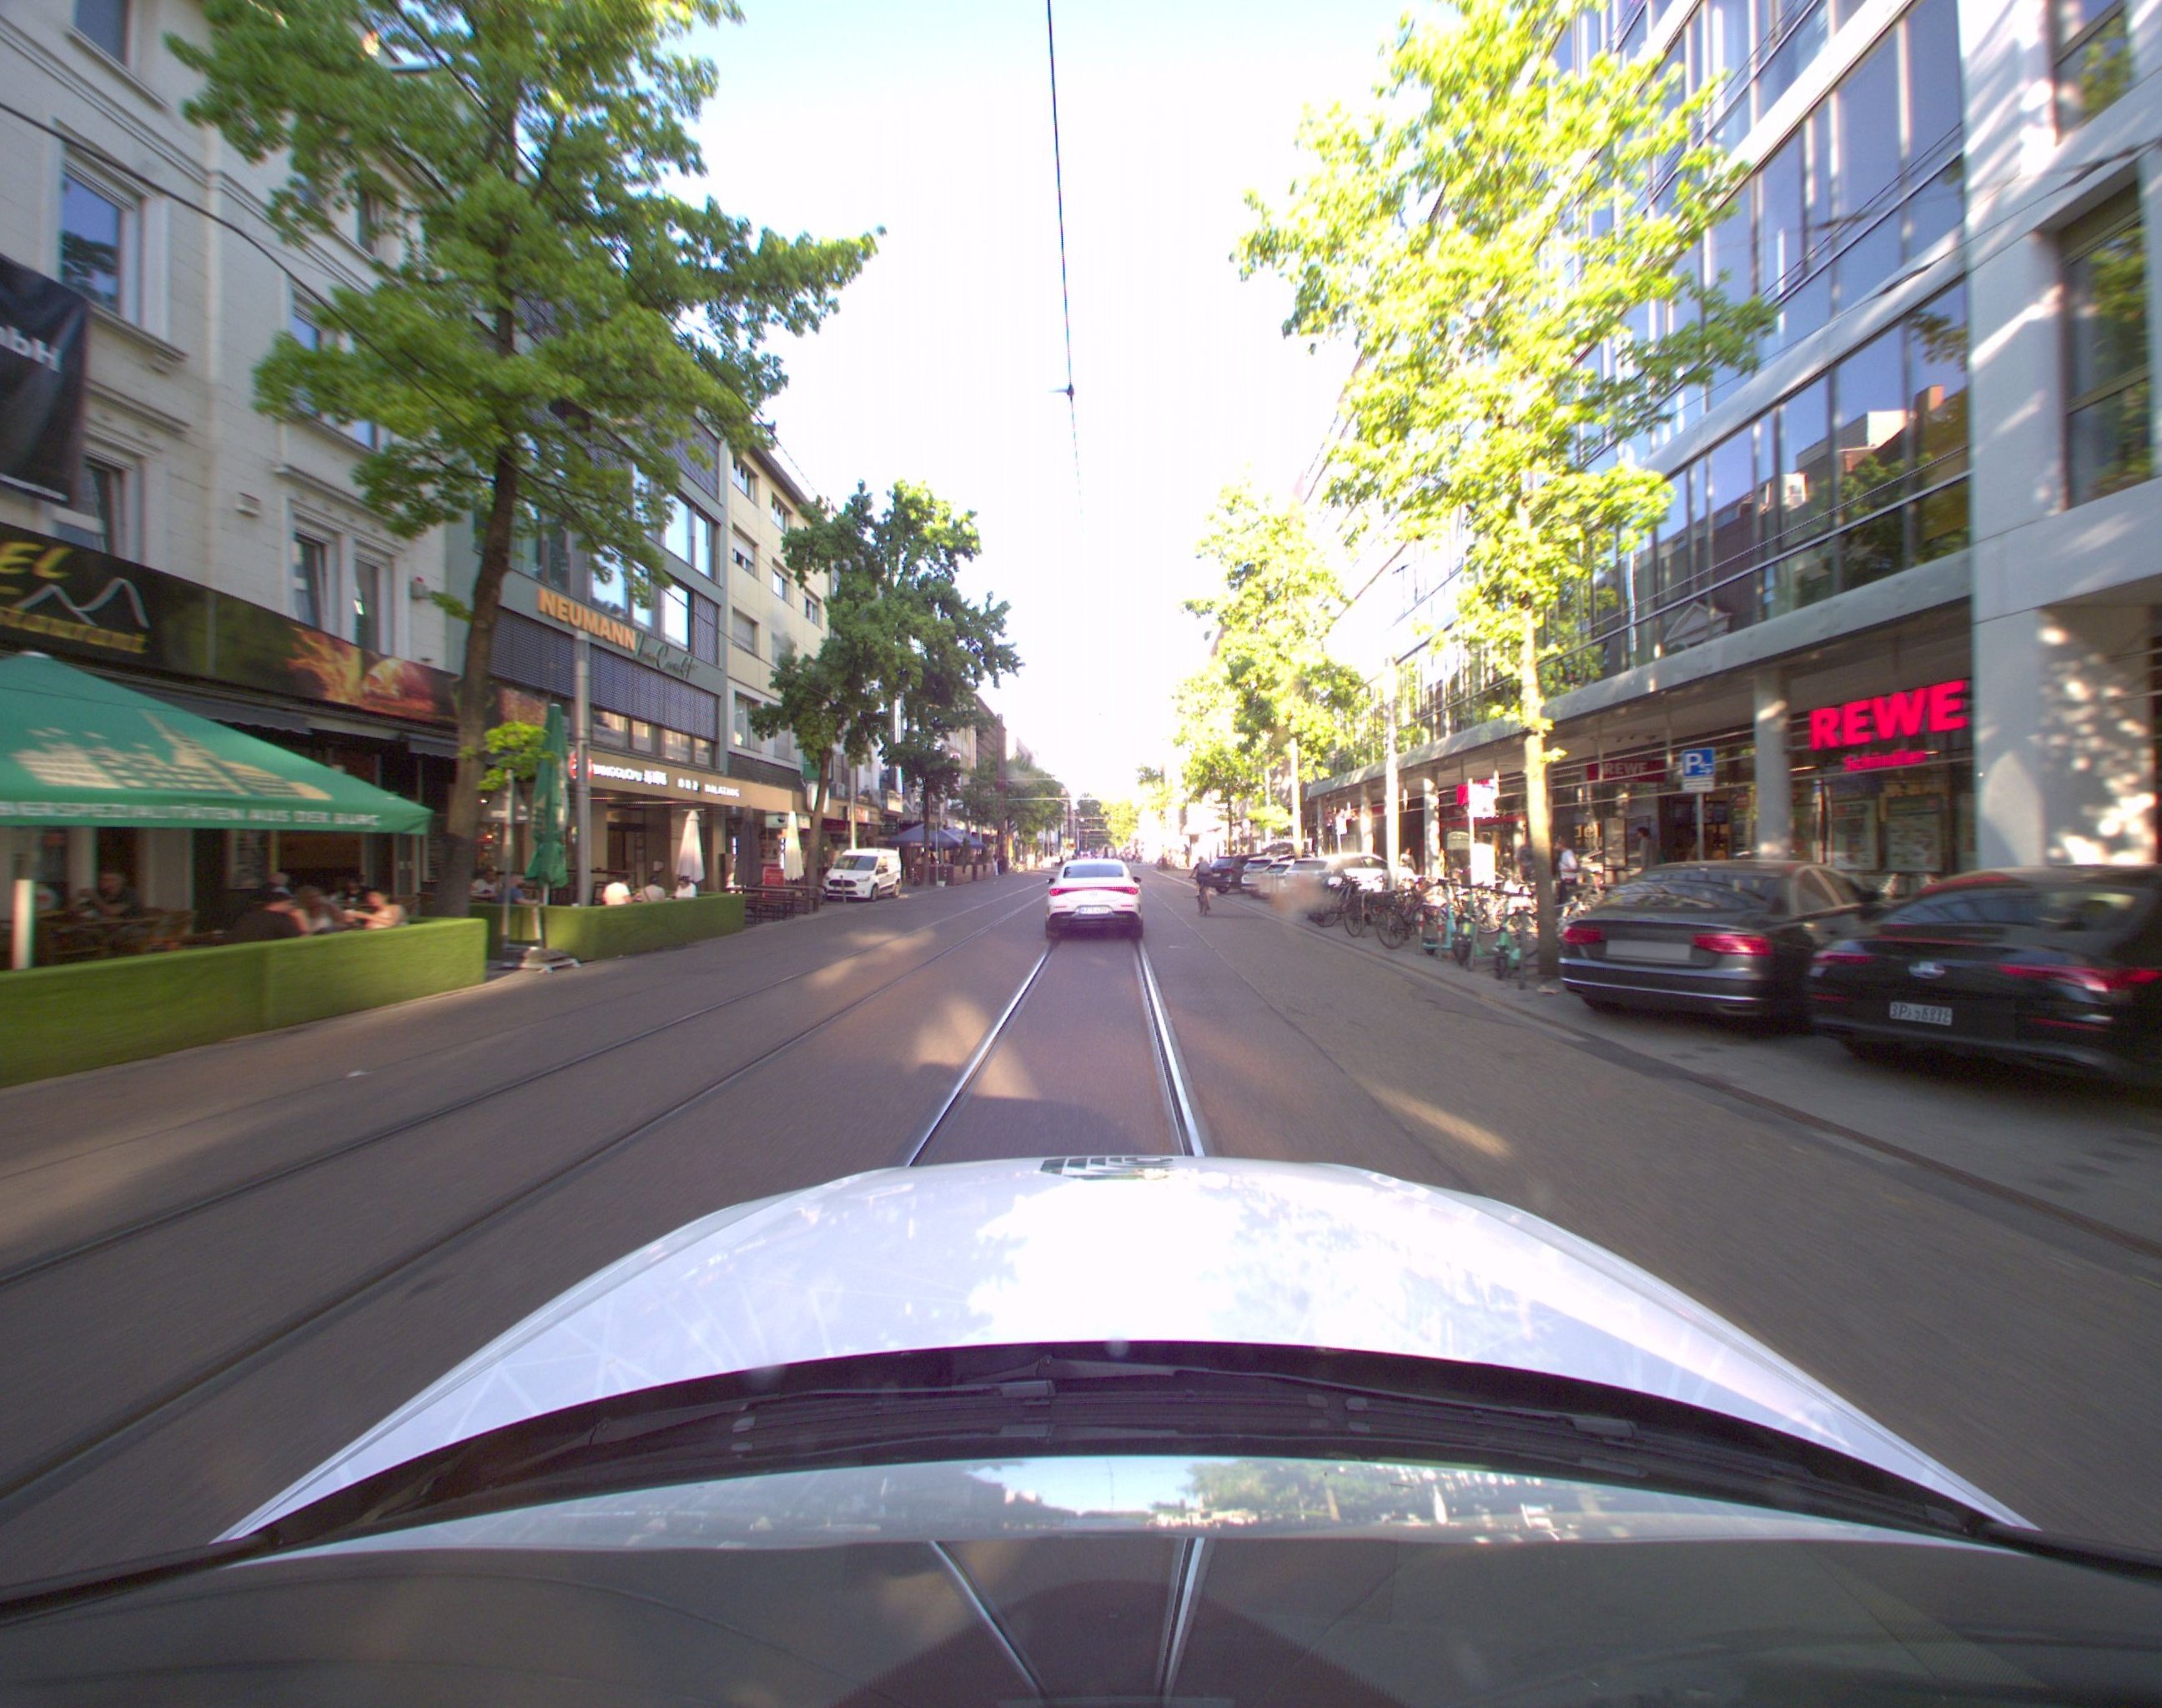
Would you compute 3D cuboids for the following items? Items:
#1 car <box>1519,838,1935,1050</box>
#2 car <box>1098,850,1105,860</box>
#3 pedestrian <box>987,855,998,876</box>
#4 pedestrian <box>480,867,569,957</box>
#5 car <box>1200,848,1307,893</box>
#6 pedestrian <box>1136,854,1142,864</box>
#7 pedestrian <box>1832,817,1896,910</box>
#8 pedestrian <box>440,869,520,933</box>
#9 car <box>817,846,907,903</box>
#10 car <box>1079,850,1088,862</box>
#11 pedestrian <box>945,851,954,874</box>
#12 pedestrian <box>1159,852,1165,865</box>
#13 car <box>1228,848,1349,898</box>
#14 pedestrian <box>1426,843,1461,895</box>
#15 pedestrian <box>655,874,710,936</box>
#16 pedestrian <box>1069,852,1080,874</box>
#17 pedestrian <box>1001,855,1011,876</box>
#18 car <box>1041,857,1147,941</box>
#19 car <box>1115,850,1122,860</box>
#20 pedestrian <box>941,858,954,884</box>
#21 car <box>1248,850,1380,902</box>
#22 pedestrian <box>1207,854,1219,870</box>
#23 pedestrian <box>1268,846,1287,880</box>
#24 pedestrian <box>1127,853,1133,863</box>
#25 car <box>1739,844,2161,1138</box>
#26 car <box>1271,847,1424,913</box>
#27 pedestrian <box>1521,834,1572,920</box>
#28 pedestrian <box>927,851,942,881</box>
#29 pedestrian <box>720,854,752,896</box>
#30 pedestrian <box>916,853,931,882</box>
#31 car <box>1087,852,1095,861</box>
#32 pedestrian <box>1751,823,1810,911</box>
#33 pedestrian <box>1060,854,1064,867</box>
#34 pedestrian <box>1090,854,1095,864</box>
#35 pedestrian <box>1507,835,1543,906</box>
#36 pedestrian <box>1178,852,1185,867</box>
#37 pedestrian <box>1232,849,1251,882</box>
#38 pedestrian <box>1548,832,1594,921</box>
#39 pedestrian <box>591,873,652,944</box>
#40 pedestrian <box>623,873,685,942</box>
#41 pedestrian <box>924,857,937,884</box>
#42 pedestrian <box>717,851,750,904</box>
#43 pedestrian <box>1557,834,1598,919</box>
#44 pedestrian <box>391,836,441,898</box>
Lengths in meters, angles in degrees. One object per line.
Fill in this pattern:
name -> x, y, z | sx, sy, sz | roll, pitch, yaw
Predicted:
car -> 7.003, 0.719, 8.639 | 5.082, 1.469, 1.956 | -3, 0, -34
car -> 6.471, 0.347, 255.769 | 2.091, 2.897, 5.278 | -1, 0, 3
pedestrian -> -6.669, 0.865, 61.384 | 0.620, 1.509, 0.834 | 2, 0, 3
pedestrian -> -8.893, 0.909, 13.055 | 0.751, 1.343, 0.873 | 2, 0, 1
car -> 7.374, 0.682, 34.642 | 4.369, 1.652, 1.678 | -3, 0, -29
pedestrian -> 10.727, 0.898, 151.171 | 0.957, 1.785, 0.804 | -2, 0, 1
pedestrian -> 15.056, 0.179, 15.679 | 0.594, 1.743, 0.628 | -2, 0, 11
pedestrian -> -12.083, 0.923, 16.408 | 0.750, 1.188, 1.065 | 2, 0, 1
car -> -7.863, 0.684, 29.707 | 1.788, 1.864, 4.557 | 2, 0, 3
car -> 0.700, 0.567, 205.106 | 1.985, 2.897, 5.278 | -1, 0, 3
pedestrian -> -10.264, 0.675, 63.545 | 0.595, 1.745, 0.672 | 1, 0, 3
pedestrian -> 11.746, 0.614, 117.883 | 0.746, 1.785, 0.767 | -2, 0, 1
car -> 7.858, 0.701, 30.753 | 4.261, 1.587, 1.866 | -3, 0, -29
pedestrian -> 11.625, 0.470, 26.160 | 0.711, 1.624, 0.883 | -2, 0, 3
pedestrian -> -8.169, 1.039, 16.724 | 0.654, 1.193, 0.798 | 2, 0, 1
pedestrian -> -0.532, 0.764, 68.156 | 0.838, 1.801, 0.791 | 1, 0, 3
pedestrian -> -5.662, 0.849, 61.516 | 0.620, 1.550, 0.853 | 2, 0, 3
car -> 0.310, 0.794, 16.371 | 1.850, 1.455, 4.177 | 0, 0, 2
car -> 11.660, 0.312, 255.940 | 2.091, 2.897, 5.288 | -1, 0, 3
pedestrian -> -7.031, 0.902, 42.898 | 0.547, 1.356, 0.583 | 0, 0, 1
car -> 8.006, 0.735, 28.002 | 4.163, 1.499, 1.676 | -3, 0, -22
pedestrian -> 11.961, 0.710, 73.969 | 0.836, 1.377, 0.772 | 0, 0, -20
pedestrian -> 10.258, 0.486, 42.521 | 0.681, 1.731, 0.636 | -3, -1, 44
pedestrian -> 8.986, 0.760, 150.163 | 0.957, 1.785, 0.804 | -2, 0, 1
car -> 7.529, 0.717, 6.037 | 4.666, 1.426, 1.921 | -3, -1, -19
car -> 7.637, 0.691, 23.271 | 4.174, 1.571, 1.836 | -3, 0, -31
pedestrian -> 9.334, 0.448, 16.334 | 0.679, 1.696, 0.548 | 0, 0, -11
pedestrian -> -8.472, 0.693, 46.971 | 0.715, 1.724, 0.675 | 0, 0, 1
pedestrian -> -12.339, 0.742, 29.150 | 0.767, 1.467, 0.765 | 2, 0, 0
pedestrian -> -8.735, 0.760, 45.161 | 0.671, 1.607, 0.720 | 0, 0, 1
car -> 2.781, 0.698, 223.797 | 1.902, 2.461, 5.278 | -1, 0, 3
pedestrian -> 14.272, 0.254, 16.625 | 0.596, 1.743, 0.626 | -2, 0, 0
pedestrian -> -2.663, 0.934, 115.063 | 0.570, 1.929, 0.540 | -1, 0, -2
pedestrian -> 2.033, 0.892, 143.196 | 0.797, 1.782, 0.849 | 1, 0, 1
pedestrian -> 11.154, 0.410, 20.471 | 0.555, 1.750, 0.525 | -3, -1, 2
pedestrian -> 12.565, 0.658, 101.634 | 0.698, 1.812, 1.034 | -4, 0, 2
pedestrian -> 8.408, 0.615, 42.659 | 0.672, 1.685, 0.700 | -3, 0, 35
pedestrian -> 9.952, 0.456, 16.556 | 0.521, 1.750, 0.559 | -3, -1, 4
pedestrian -> -8.909, 1.041, 15.809 | 0.654, 1.293, 0.798 | 2, 0, 1
pedestrian -> -8.234, 1.012, 15.732 | 0.654, 1.244, 0.873 | 2, 0, 1
pedestrian -> -7.923, 0.850, 42.974 | 0.547, 1.429, 0.583 | 0, 0, 1
pedestrian -> -10.599, 0.702, 24.840 | 0.645, 1.574, 0.700 | 2, 0, 2
pedestrian -> 10.087, 0.445, 16.561 | 0.514, 1.696, 0.551 | -1, 0, 6
pedestrian -> -18.395, 0.349, 22.537 | 0.695, 1.650, 0.734 | 2, 0, 1
